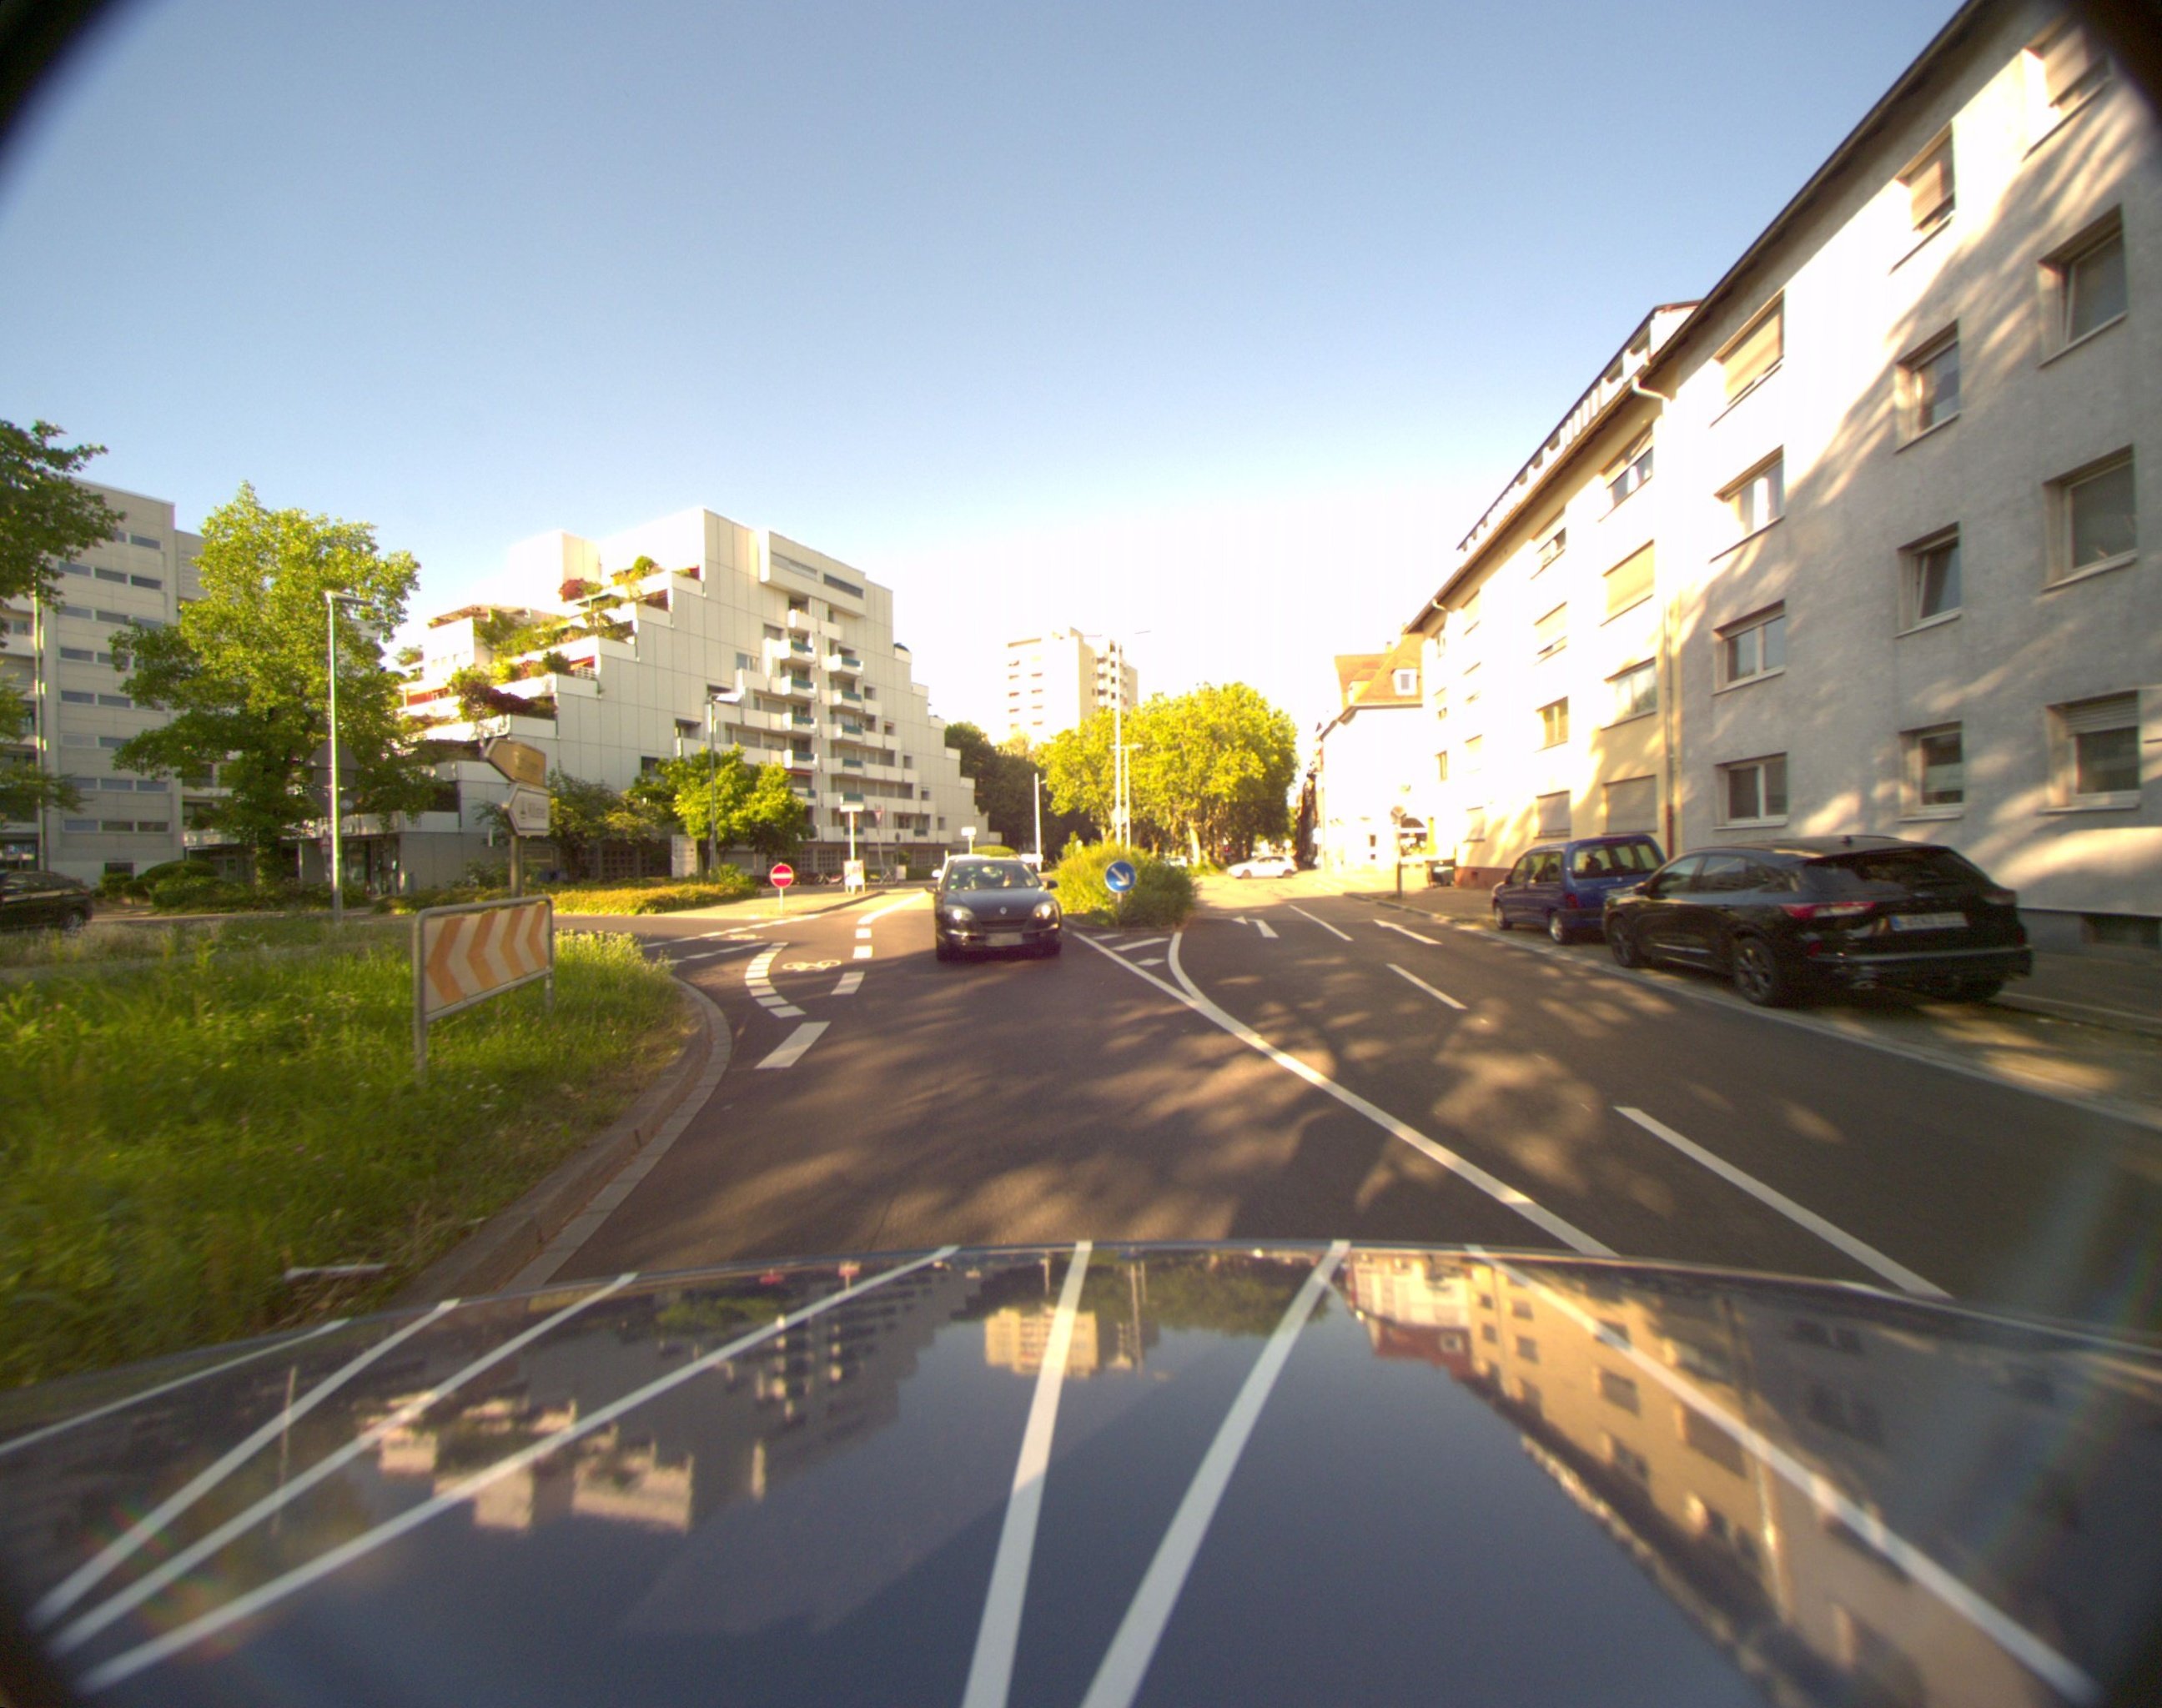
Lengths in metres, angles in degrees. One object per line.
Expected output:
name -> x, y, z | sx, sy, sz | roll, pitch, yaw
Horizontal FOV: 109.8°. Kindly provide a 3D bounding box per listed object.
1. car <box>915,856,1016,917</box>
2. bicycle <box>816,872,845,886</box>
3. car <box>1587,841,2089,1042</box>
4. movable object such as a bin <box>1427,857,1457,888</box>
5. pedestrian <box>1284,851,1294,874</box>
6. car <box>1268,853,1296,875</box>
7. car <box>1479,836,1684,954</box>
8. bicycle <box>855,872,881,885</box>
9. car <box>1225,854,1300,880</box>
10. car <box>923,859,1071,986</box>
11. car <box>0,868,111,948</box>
car -> -2.945, 0.798, 20.096 | 1.653, 1.445, 3.537 | -1, 0, 9
bicycle -> -15.875, 1.578, 48.219 | 0.463, 0.833, 1.704 | 0, 0, 44
car -> 7.874, 0.758, 8.694 | 1.909, 1.663, 4.497 | -3, 0, 12
movable object such as a bin -> 15.222, 0.754, 32.058 | 1.033, 1.278, 1.063 | 0, 0, 20
pedestrian -> 15.877, 0.659, 57.913 | 0.672, 1.702, 0.714 | 0, 1, 19
car -> 16.775, 0.806, 63.495 | 1.896, 1.782, 4.003 | -1, 0, 10
car -> 8.960, 0.657, 14.029 | 1.667, 1.808, 4.008 | -3, 0, 10
bicycle -> -13.888, 1.613, 49.611 | 1.577, 0.780, 0.464 | -1, 0, -14
car -> 11.203, 0.785, 47.025 | 4.203, 1.502, 1.801 | -1, 0, -1
car -> -1.492, 0.904, 12.091 | 1.846, 1.536, 4.520 | -3, 0, -11
car -> -23.585, 1.125, 16.105 | 1.941, 1.649, 4.470 | 2, -3, -26
